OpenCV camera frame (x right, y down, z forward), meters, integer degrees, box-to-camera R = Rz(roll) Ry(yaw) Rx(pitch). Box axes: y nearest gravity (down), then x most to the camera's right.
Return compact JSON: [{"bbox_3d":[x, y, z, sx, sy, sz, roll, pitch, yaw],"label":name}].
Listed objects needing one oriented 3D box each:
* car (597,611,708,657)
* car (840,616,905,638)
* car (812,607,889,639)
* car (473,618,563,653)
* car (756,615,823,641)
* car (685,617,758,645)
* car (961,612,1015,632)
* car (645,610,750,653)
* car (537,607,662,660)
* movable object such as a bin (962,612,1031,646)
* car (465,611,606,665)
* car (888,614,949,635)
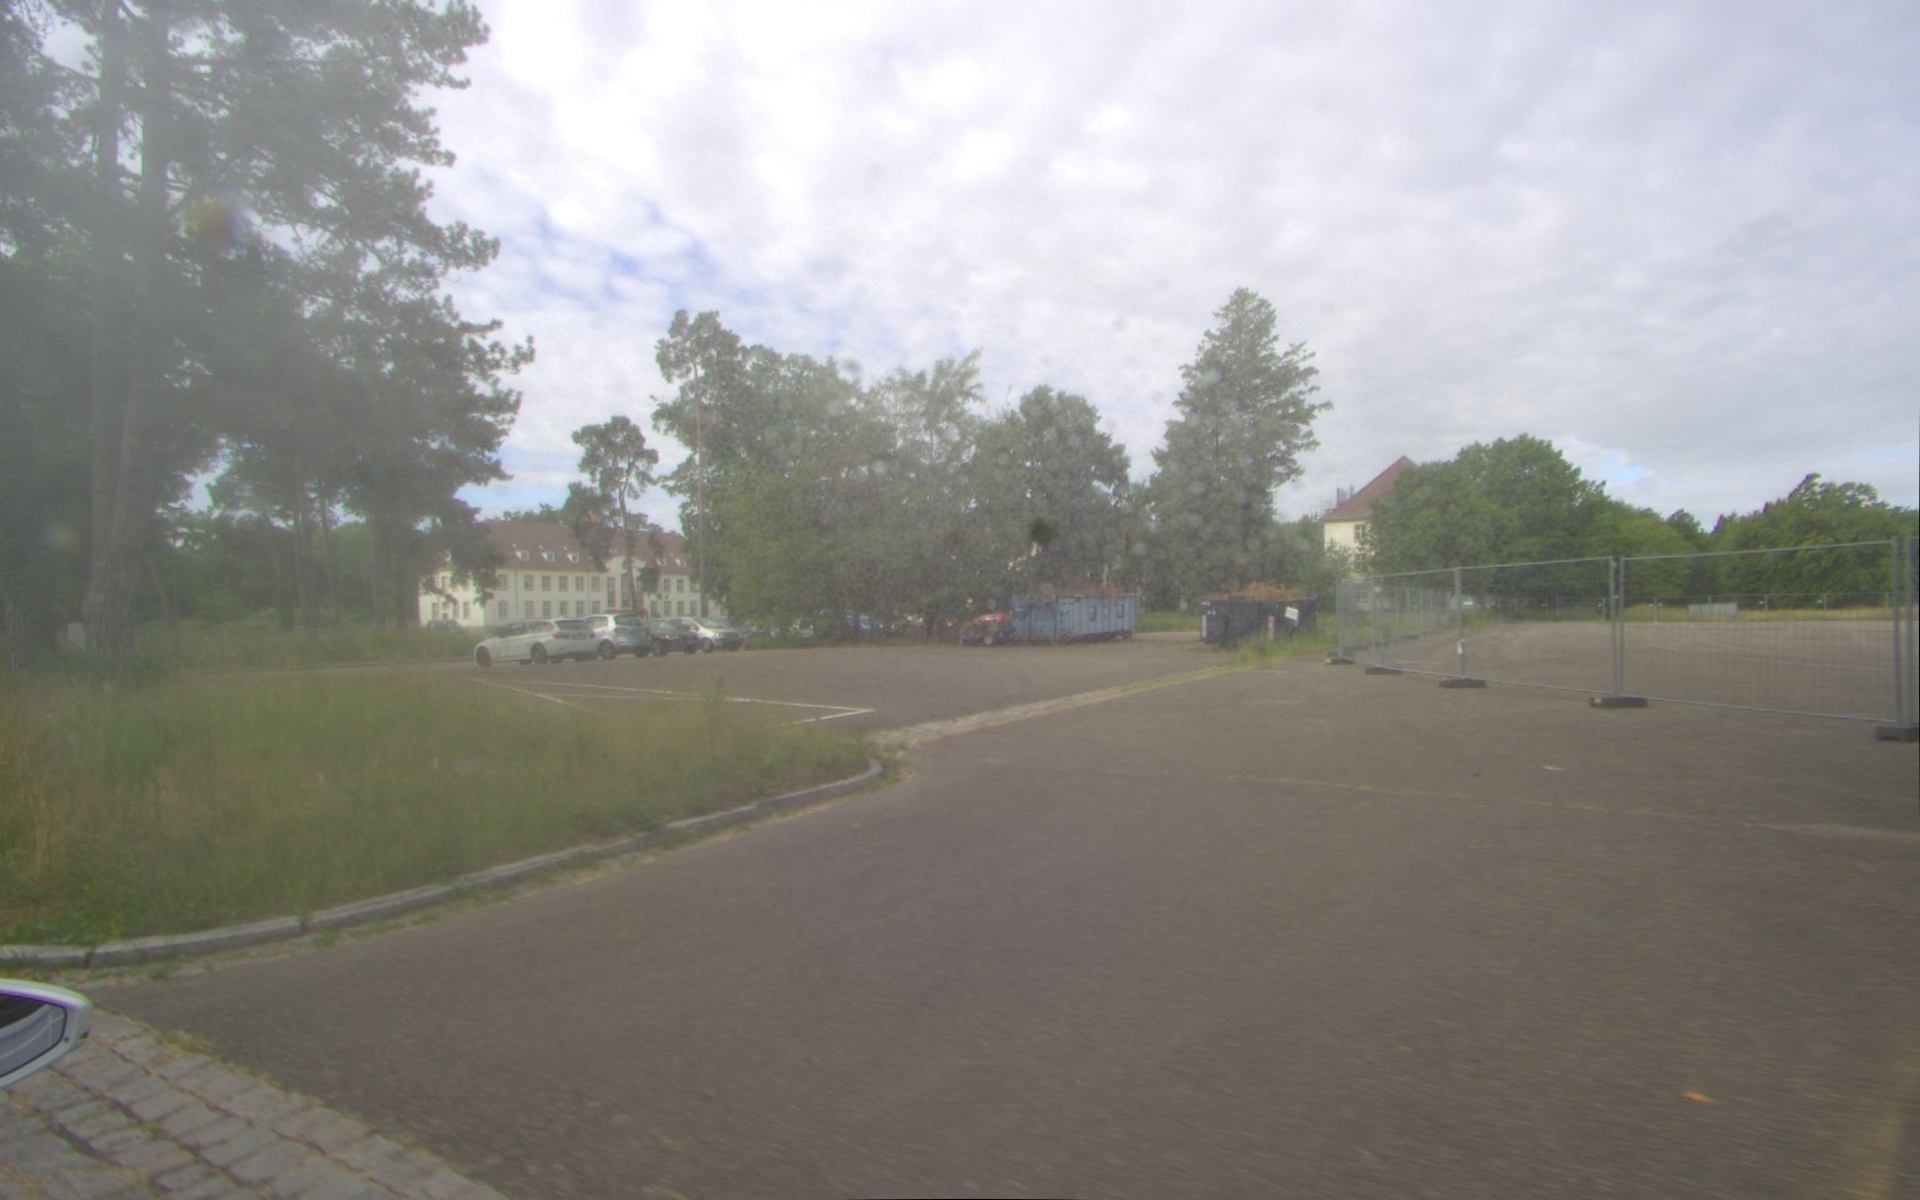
[{"bbox_3d":[-11.562,1.299,37.576,4.186,1.504,1.697,-4,-2,33],"label":"car"},{"bbox_3d":[-5.883,1.781,67.182,4.184,1.408,1.730,-1,-1,34],"label":"car"},{"bbox_3d":[-7.162,1.479,65.092,4.724,2.052,2.131,-1,-1,33],"label":"car"},{"bbox_3d":[-19.837,1.569,44.922,4.184,1.528,1.730,-1,-1,33],"label":"car"},{"bbox_3d":[-10.365,1.674,60.671,4.190,1.521,1.611,-1,-1,38],"label":"car"},{"bbox_3d":[-13.309,1.718,55.822,4.190,1.492,1.728,-1,-1,38],"label":"car"},{"bbox_3d":[2.261,1.794,81.404,4.183,1.541,1.730,-1,-1,32],"label":"car"},{"bbox_3d":[-10.554,1.262,40.175,4.186,1.504,1.697,-4,-2,33],"label":"car"},{"bbox_3d":[-12.673,1.192,35.172,4.181,1.625,1.780,-4,-2,29],"label":"car"},{"bbox_3d":[1.242,0.999,34.197,2.176,1.149,0.960,-1,-2,23],"label":"movable object such as a bin"},{"bbox_3d":[-13.943,1.269,32.850,4.542,1.504,1.847,-4,-3,29],"label":"car"},{"bbox_3d":[-2.996,1.775,72.646,4.183,1.541,1.730,-1,-1,32],"label":"car"}]
